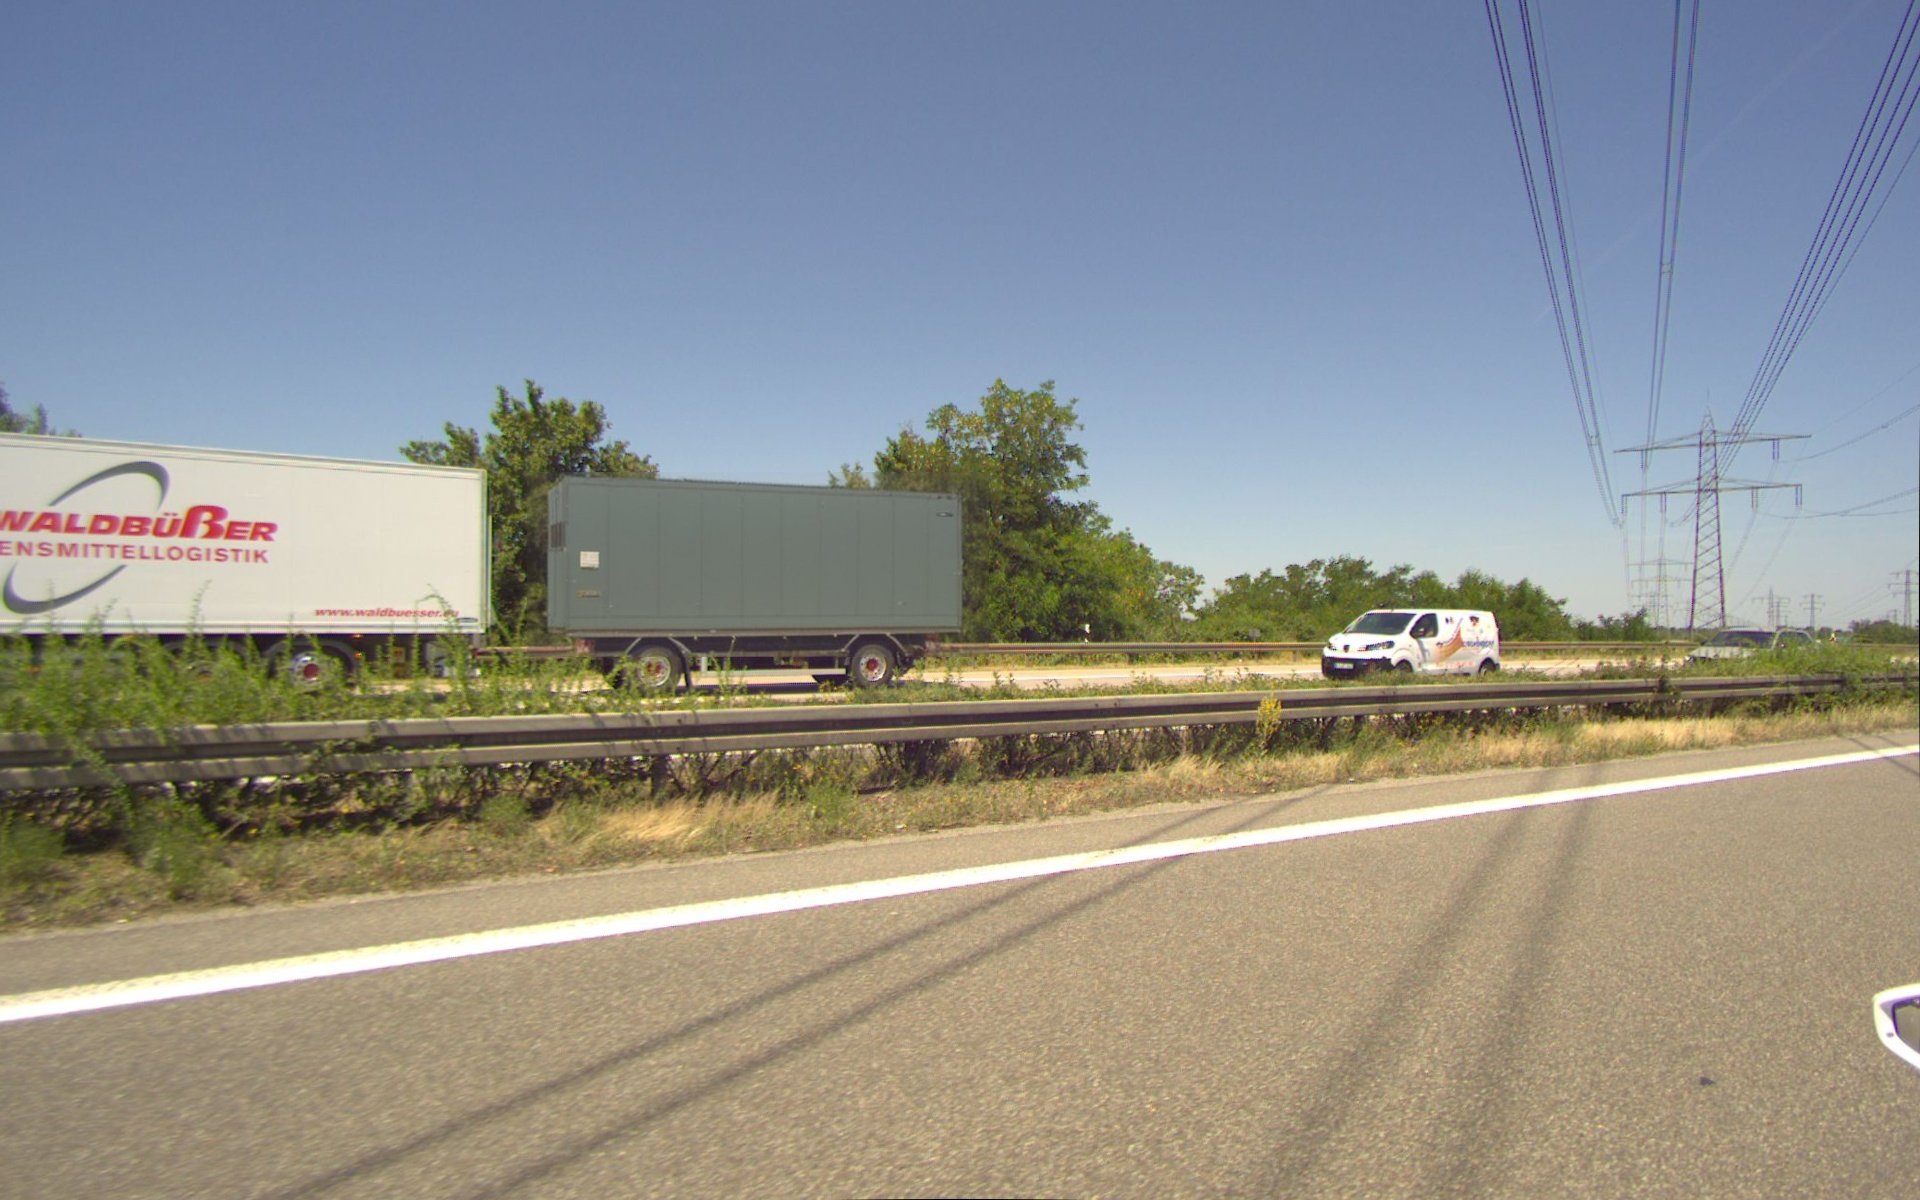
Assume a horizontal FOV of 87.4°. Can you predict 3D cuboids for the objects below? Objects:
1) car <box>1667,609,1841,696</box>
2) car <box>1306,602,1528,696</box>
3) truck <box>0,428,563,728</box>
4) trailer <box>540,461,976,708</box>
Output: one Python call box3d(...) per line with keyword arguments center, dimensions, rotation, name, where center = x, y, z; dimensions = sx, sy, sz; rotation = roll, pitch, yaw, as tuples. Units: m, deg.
box3d(center=(20.743, 1.321, 26.202), dimensions=(4.571, 2.040, 1.984), rotation=(1, 1, -30), name="car")
box3d(center=(11.166, 1.132, 24.399), dimensions=(5.633, 2.040, 1.984), rotation=(1, 1, -30), name="car")
box3d(center=(-11.916, -0.282, 15.480), dimensions=(10.470, 4.003, 2.678), rotation=(1, 1, -31), name="truck")
box3d(center=(-3.932, -0.216, 20.473), dimensions=(8.230, 4.220, 2.827), rotation=(1, 1, -31), name="trailer")
